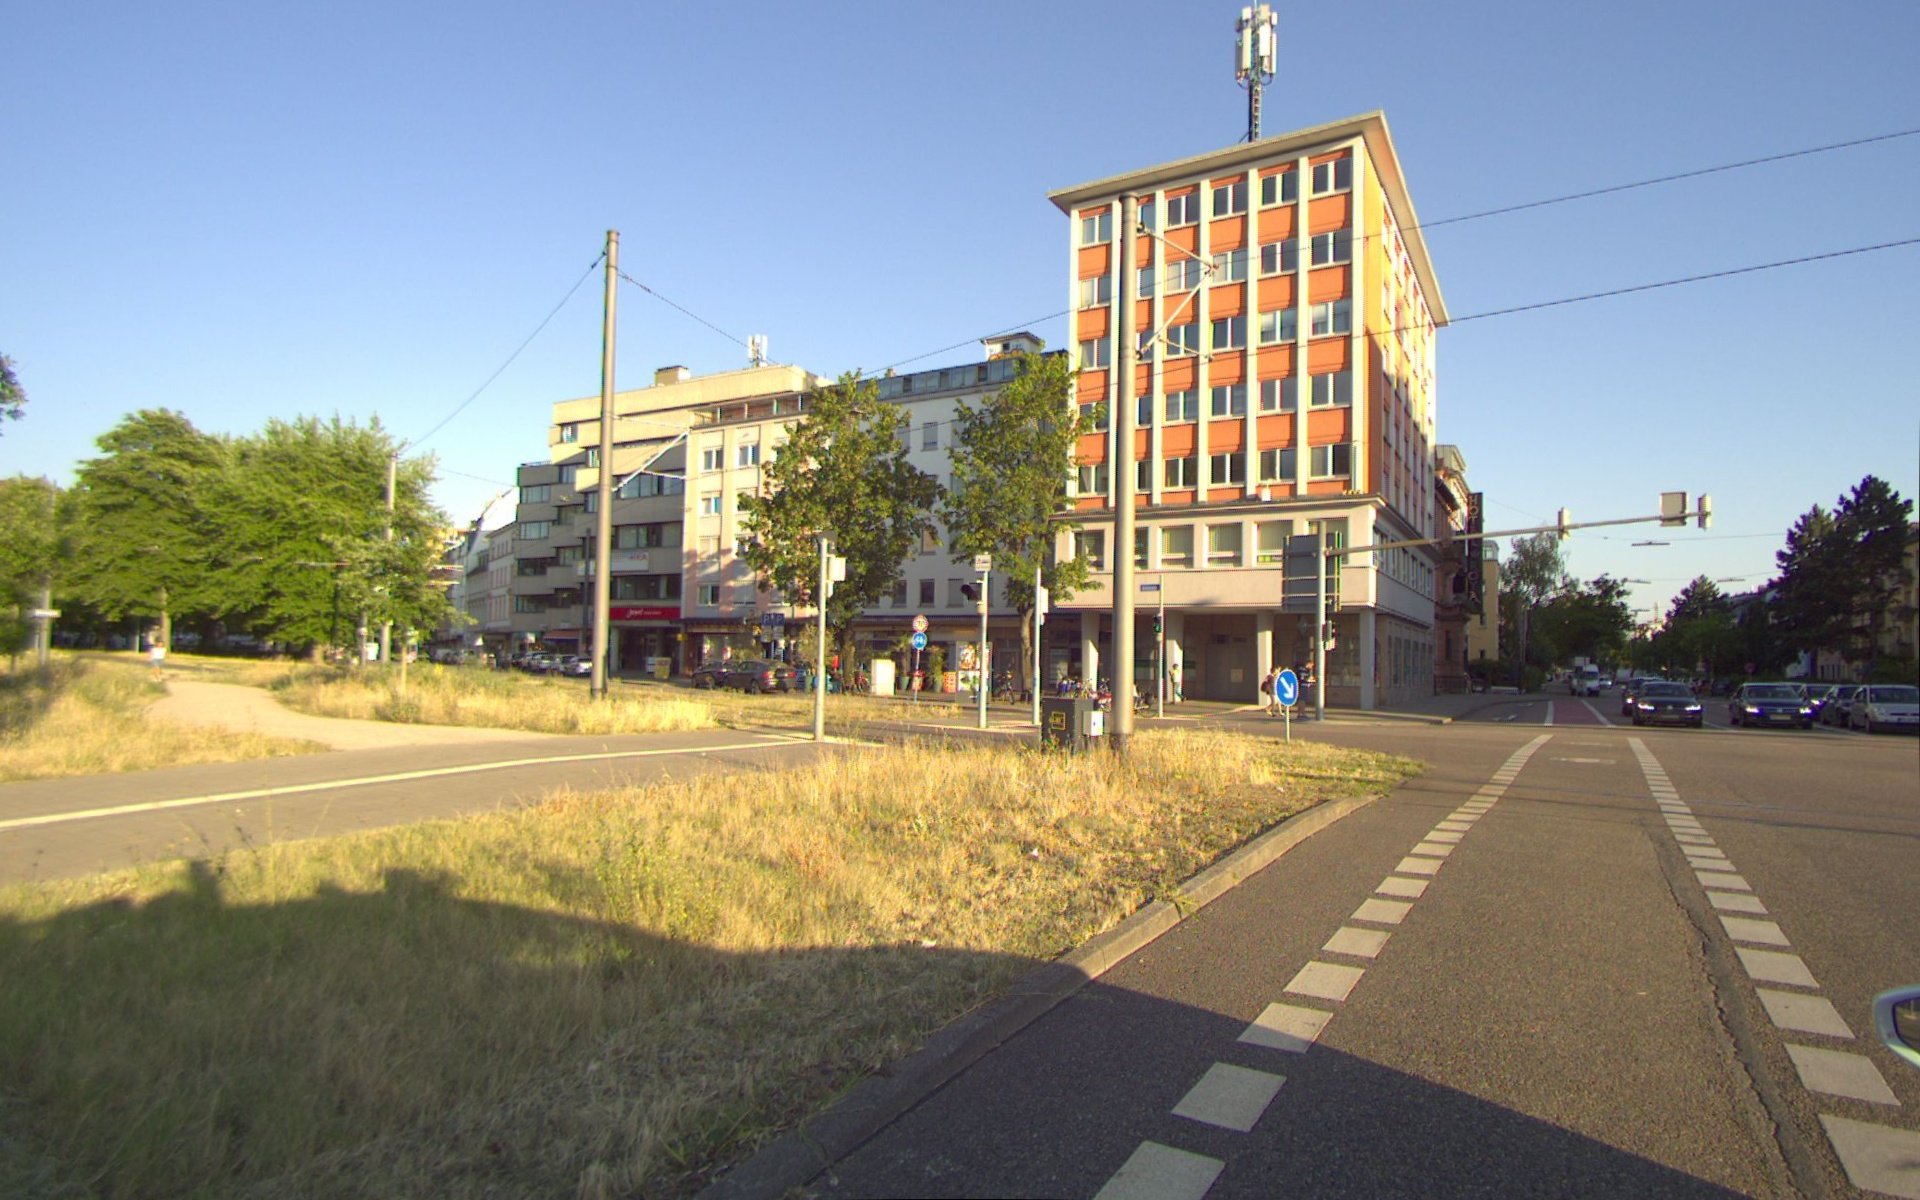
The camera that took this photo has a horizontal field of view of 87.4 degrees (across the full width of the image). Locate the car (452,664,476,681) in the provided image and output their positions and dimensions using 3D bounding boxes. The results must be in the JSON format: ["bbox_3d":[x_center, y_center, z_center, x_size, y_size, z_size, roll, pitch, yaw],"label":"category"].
[{"bbox_3d":[-56.660,8.254,114.796,1.979,1.902,3.869,3,-4,-33],"label":"car"}]

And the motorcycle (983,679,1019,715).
[{"bbox_3d":[1.594,3.765,39.065,1.366,1.335,0.380,-1,-4,33],"label":"motorcycle"}]

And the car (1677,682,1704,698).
[{"bbox_3d":[79.471,9.788,109.304,1.965,1.537,4.212,-1,-4,32],"label":"car"}]

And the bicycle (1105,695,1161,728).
[{"bbox_3d":[5.352,3.450,31.071,1.635,0.956,0.510,0,-3,18],"label":"bicycle"}]

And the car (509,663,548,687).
[{"bbox_3d":[-36.175,6.277,84.228,1.983,1.925,3.956,3,-4,-39],"label":"car"}]

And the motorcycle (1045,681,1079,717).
[{"bbox_3d":[4.006,3.875,39.389,0.536,1.335,1.832,-1,-4,32],"label":"motorcycle"}]

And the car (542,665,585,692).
[{"bbox_3d":[-29.897,5.890,75.763,1.982,1.885,3.958,3,-4,-37],"label":"car"}]

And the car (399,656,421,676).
[{"bbox_3d":[-61.212,7.370,111.833,1.975,2.040,3.971,1,-2,-28],"label":"car"}]

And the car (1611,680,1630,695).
[{"bbox_3d":[113.601,15.079,172.716,2.580,2.407,5.244,-1,-4,32],"label":"car"}]

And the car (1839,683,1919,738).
[{"bbox_3d":[28.308,3.312,30.463,1.967,1.505,3.989,-1,-4,34],"label":"car"}]

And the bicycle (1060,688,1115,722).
[{"bbox_3d":[4.386,3.624,34.629,1.874,1.089,0.468,-1,-4,31],"label":"bicycle"}]

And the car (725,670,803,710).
[{"bbox_3d":[-9.212,4.187,47.063,1.983,1.705,3.957,3,-4,-38],"label":"car"}]

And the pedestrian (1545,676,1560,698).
[{"bbox_3d":[55.713,8.183,94.467,1.006,2.040,0.945,0,-3,18],"label":"pedestrian"}]

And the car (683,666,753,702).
[{"bbox_3d":[-12.379,4.251,51.220,1.983,1.723,3.956,3,-4,-39],"label":"car"}]

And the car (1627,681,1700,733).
[{"bbox_3d":[23.140,3.480,33.143,1.855,1.505,3.989,-2,-4,34],"label":"car"}]

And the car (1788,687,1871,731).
[{"bbox_3d":[34.192,4.256,39.620,1.967,1.505,3.989,-2,-4,34],"label":"car"}]

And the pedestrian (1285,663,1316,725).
[{"bbox_3d":[11.004,3.035,32.497,0.710,1.972,0.718,1,-3,-3],"label":"pedestrian"}]

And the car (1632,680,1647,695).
[{"bbox_3d":[119.381,15.350,176.417,1.966,2.407,3.992,-1,-4,32],"label":"car"}]

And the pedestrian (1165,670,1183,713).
[{"bbox_3d":[9.165,3.893,43.018,0.629,1.814,0.584,-1,-3,30],"label":"pedestrian"}]

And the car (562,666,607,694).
[{"bbox_3d":[-26.773,5.707,71.563,1.908,1.888,3.959,3,-4,-37],"label":"car"}]

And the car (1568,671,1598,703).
[{"bbox_3d":[49.468,6.874,79.824,1.965,2.354,4.212,-1,-4,32],"label":"car"}]

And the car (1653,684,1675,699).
[{"bbox_3d":[91.616,11.909,130.736,1.965,1.857,4.212,-1,-4,32],"label":"car"}]

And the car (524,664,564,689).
[{"bbox_3d":[-33.292,6.098,80.305,1.982,1.863,3.958,3,-4,-38],"label":"car"}]

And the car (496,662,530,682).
[{"bbox_3d":[-40.849,6.583,91.817,1.982,1.732,3.958,3,-4,-37],"label":"car"}]

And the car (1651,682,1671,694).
[{"bbox_3d":[98.184,12.266,140.695,1.965,1.537,4.212,-1,-4,32],"label":"car"}]

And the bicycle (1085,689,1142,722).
[{"bbox_3d":[5.429,3.738,35.580,1.960,1.089,0.468,-1,-4,31],"label":"bicycle"}]

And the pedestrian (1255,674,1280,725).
[{"bbox_3d":[10.599,3.424,34.607,0.717,1.706,0.584,-1,-4,30],"label":"pedestrian"}]

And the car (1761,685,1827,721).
[{"bbox_3d":[39.000,4.782,47.058,1.967,1.505,3.989,-2,-4,34],"label":"car"}]

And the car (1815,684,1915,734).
[{"bbox_3d":[31.044,3.705,34.588,1.967,1.505,3.989,-2,-4,34],"label":"car"}]

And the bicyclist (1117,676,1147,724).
[{"bbox_3d":[5.322,3.088,31.097,0.840,1.445,0.501,0,-3,17],"label":"bicyclist"}]

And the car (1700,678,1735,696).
[{"bbox_3d":[66.740,7.652,88.545,1.965,1.537,4.212,-1,-4,32],"label":"car"}]

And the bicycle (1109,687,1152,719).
[{"bbox_3d":[6.243,3.752,36.771,1.533,1.089,0.394,-1,-4,31],"label":"bicycle"}]

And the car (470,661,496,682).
[{"bbox_3d":[-48.718,7.279,102.579,1.978,2.006,3.967,3,-4,-32],"label":"car"}]

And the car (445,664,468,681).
[{"bbox_3d":[-59.906,8.608,119.549,1.979,2.039,3.965,3,-4,-33],"label":"car"}]

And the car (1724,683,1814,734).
[{"bbox_3d":[27.014,3.576,33.662,1.967,1.505,3.989,-2,-4,34],"label":"car"}]

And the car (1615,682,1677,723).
[{"bbox_3d":[29.064,4.301,42.658,1.966,1.551,3.991,-2,-4,32],"label":"car"}]

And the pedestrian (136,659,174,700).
[{"bbox_3d":[-30.902,3.048,38.558,0.898,1.515,0.696,0,-3,17],"label":"pedestrian"}]

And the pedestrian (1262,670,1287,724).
[{"bbox_3d":[11.059,3.388,35.318,0.701,1.841,0.750,-1,-4,31],"label":"pedestrian"}]
